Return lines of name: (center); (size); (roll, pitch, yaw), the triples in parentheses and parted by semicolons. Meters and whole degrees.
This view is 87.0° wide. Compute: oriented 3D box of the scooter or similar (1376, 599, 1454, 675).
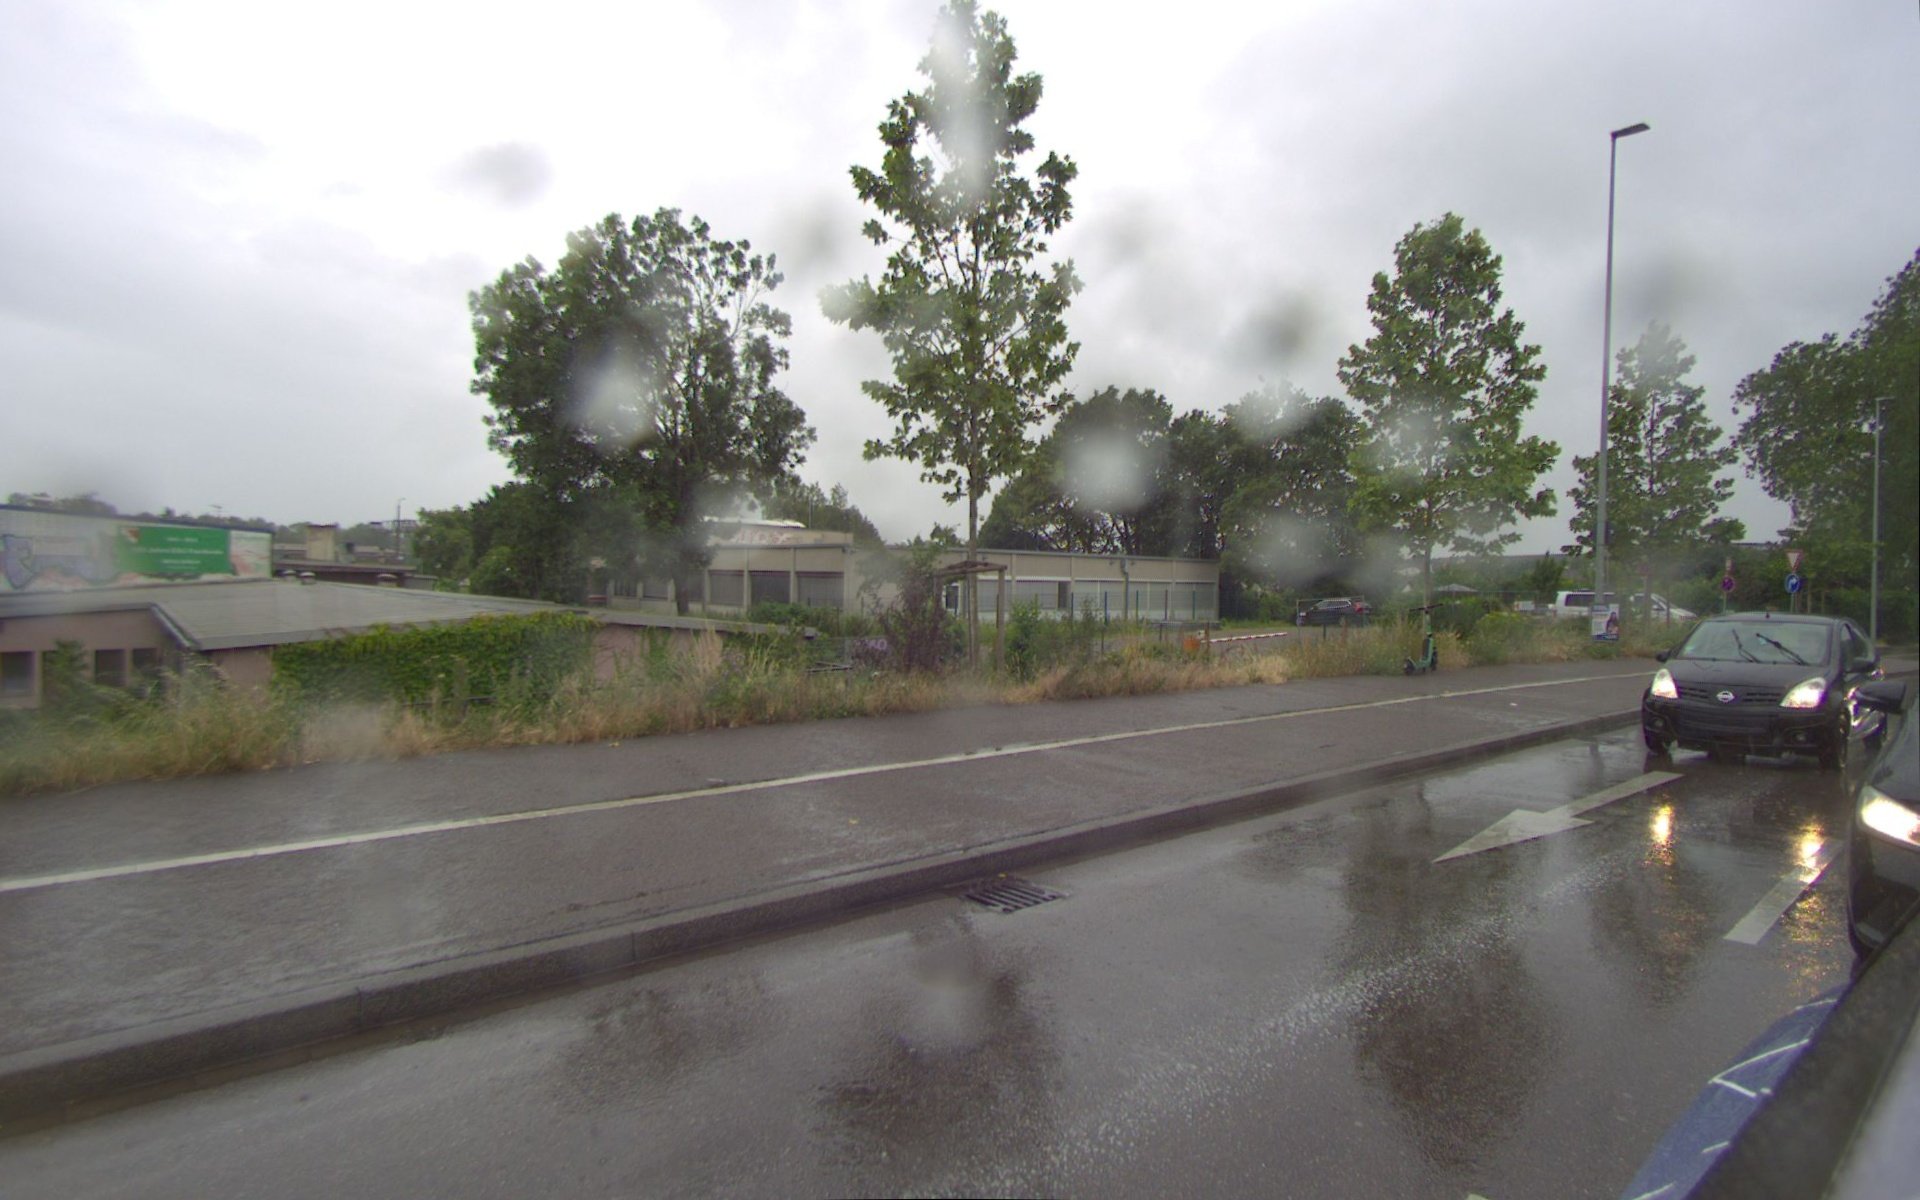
scooter or similar: (7.664, 0.588, 17.014); (1.877, 1.214, 0.367); (0, 0, -38)

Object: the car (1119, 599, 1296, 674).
car: (4.683, 0.646, 19.498); (1.319, 1.304, 3.246); (0, 0, -35)

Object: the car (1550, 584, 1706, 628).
car: (28.016, 0.241, 42.604); (1.972, 1.747, 5.168); (0, 0, -42)

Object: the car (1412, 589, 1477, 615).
car: (30.931, 0.144, 64.689); (1.319, 1.604, 3.555); (0, 0, -35)

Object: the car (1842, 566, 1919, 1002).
car: (5.550, 0.701, 4.440); (4.091, 1.601, 1.759); (1, 0, -37)

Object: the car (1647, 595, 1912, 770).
car: (8.701, 0.732, 10.651); (3.554, 1.528, 1.556); (0, 0, -40)
